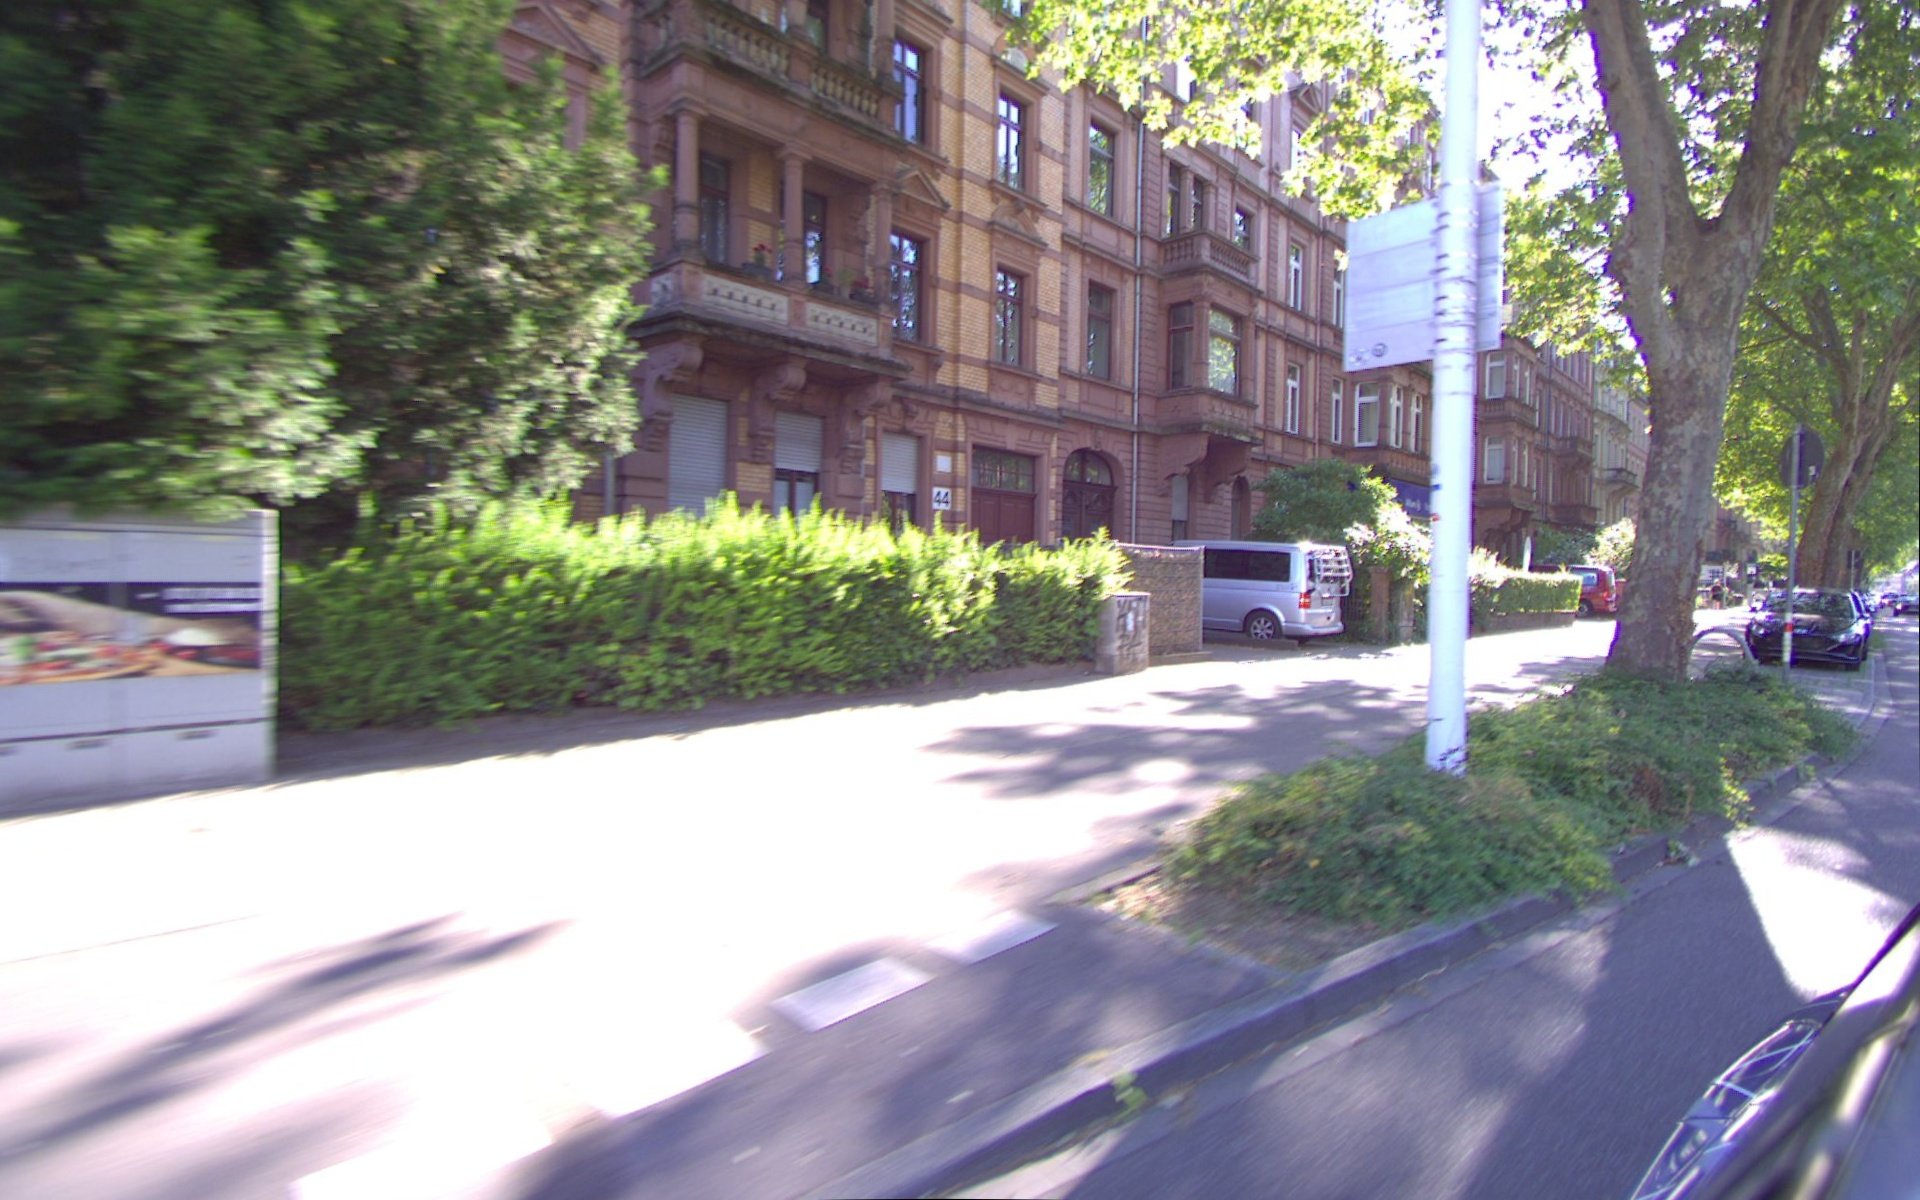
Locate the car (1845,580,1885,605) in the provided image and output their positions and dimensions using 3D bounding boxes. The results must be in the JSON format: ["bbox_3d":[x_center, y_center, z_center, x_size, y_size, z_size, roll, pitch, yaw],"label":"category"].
[{"bbox_3d":[58.139,-0.495,64.963,1.732,1.555,4.729,2,2,44],"label":"car"}]

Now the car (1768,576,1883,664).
[{"bbox_3d":[17.150,0.311,20.020,1.551,1.517,3.988,3,3,42],"label":"car"}]

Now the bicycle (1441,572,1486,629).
[{"bbox_3d":[11.564,0.009,23.222,1.737,1.266,0.338,-1,-1,-43],"label":"bicycle"}]

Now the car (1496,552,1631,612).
[{"bbox_3d":[23.619,-0.748,39.701,4.175,2.038,1.970,5,4,42],"label":"car"}]

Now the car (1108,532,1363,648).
[{"bbox_3d":[5.449,-0.292,20.429,4.574,2.038,1.885,4,4,43],"label":"car"}]

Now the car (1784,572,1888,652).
[{"bbox_3d":[20.002,0.200,23.092,1.616,1.606,4.350,3,3,42],"label":"car"}]

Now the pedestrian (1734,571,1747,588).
[{"bbox_3d":[62.144,-1.638,80.564,0.712,1.316,0.652,2,1,42],"label":"pedestrian"}]
